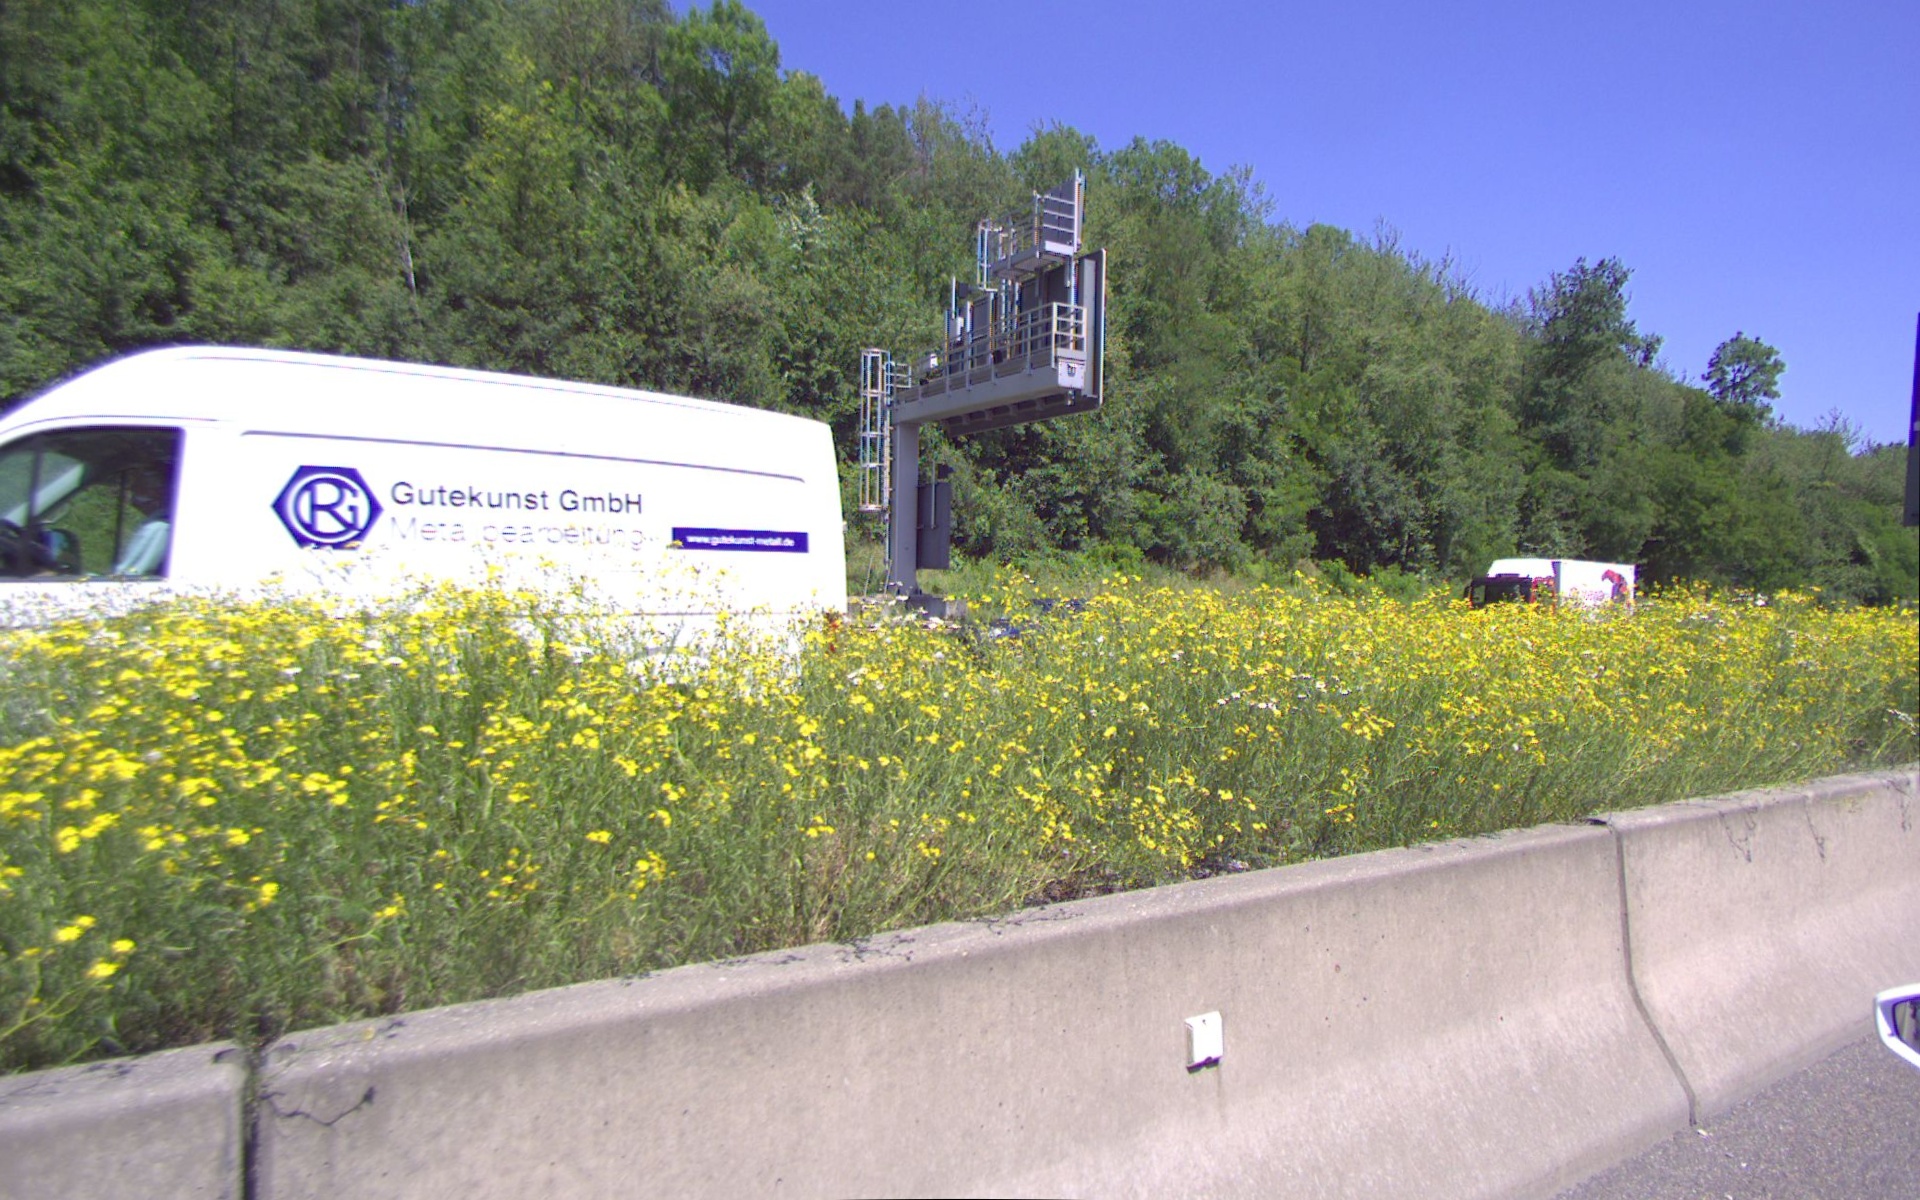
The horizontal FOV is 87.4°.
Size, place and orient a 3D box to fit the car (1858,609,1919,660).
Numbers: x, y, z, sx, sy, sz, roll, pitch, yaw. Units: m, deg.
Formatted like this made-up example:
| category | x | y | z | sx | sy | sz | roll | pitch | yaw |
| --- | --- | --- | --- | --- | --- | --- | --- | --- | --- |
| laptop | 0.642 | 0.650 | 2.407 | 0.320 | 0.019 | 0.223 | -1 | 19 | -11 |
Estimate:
| category | x | y | z | sx | sy | sz | roll | pitch | yaw |
| --- | --- | --- | --- | --- | --- | --- | --- | --- | --- |
| car | 30.805 | 1.099 | 32.253 | 3.824 | 1.539 | 1.834 | 1 | 0 | -30 |

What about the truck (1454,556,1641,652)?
| category | x | y | z | sx | sy | sz | roll | pitch | yaw |
| --- | --- | --- | --- | --- | --- | --- | --- | --- | --- |
| truck | 20.538 | 0.190 | 34.981 | 7.375 | 3.045 | 2.393 | 1 | 0 | -32 |

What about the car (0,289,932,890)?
| category | x | y | z | sx | sy | sz | roll | pitch | yaw |
| --- | --- | --- | --- | --- | --- | --- | --- | --- | --- |
| car | -3.214 | -0.021 | 5.985 | 5.839 | 2.575 | 1.984 | 1 | 0 | -30 |

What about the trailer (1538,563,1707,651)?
| category | x | y | z | sx | sy | sz | roll | pitch | yaw |
| --- | --- | --- | --- | --- | --- | --- | --- | --- | --- |
| trailer | 24.957 | 0.287 | 37.730 | 7.375 | 3.045 | 2.393 | 1 | 0 | -32 |

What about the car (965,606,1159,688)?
| category | x | y | z | sx | sy | sz | roll | pitch | yaw |
| --- | --- | --- | --- | --- | --- | --- | --- | --- | --- |
| car | 2.059 | 0.910 | 20.219 | 3.500 | 1.473 | 1.779 | 1 | 0 | -30 |
